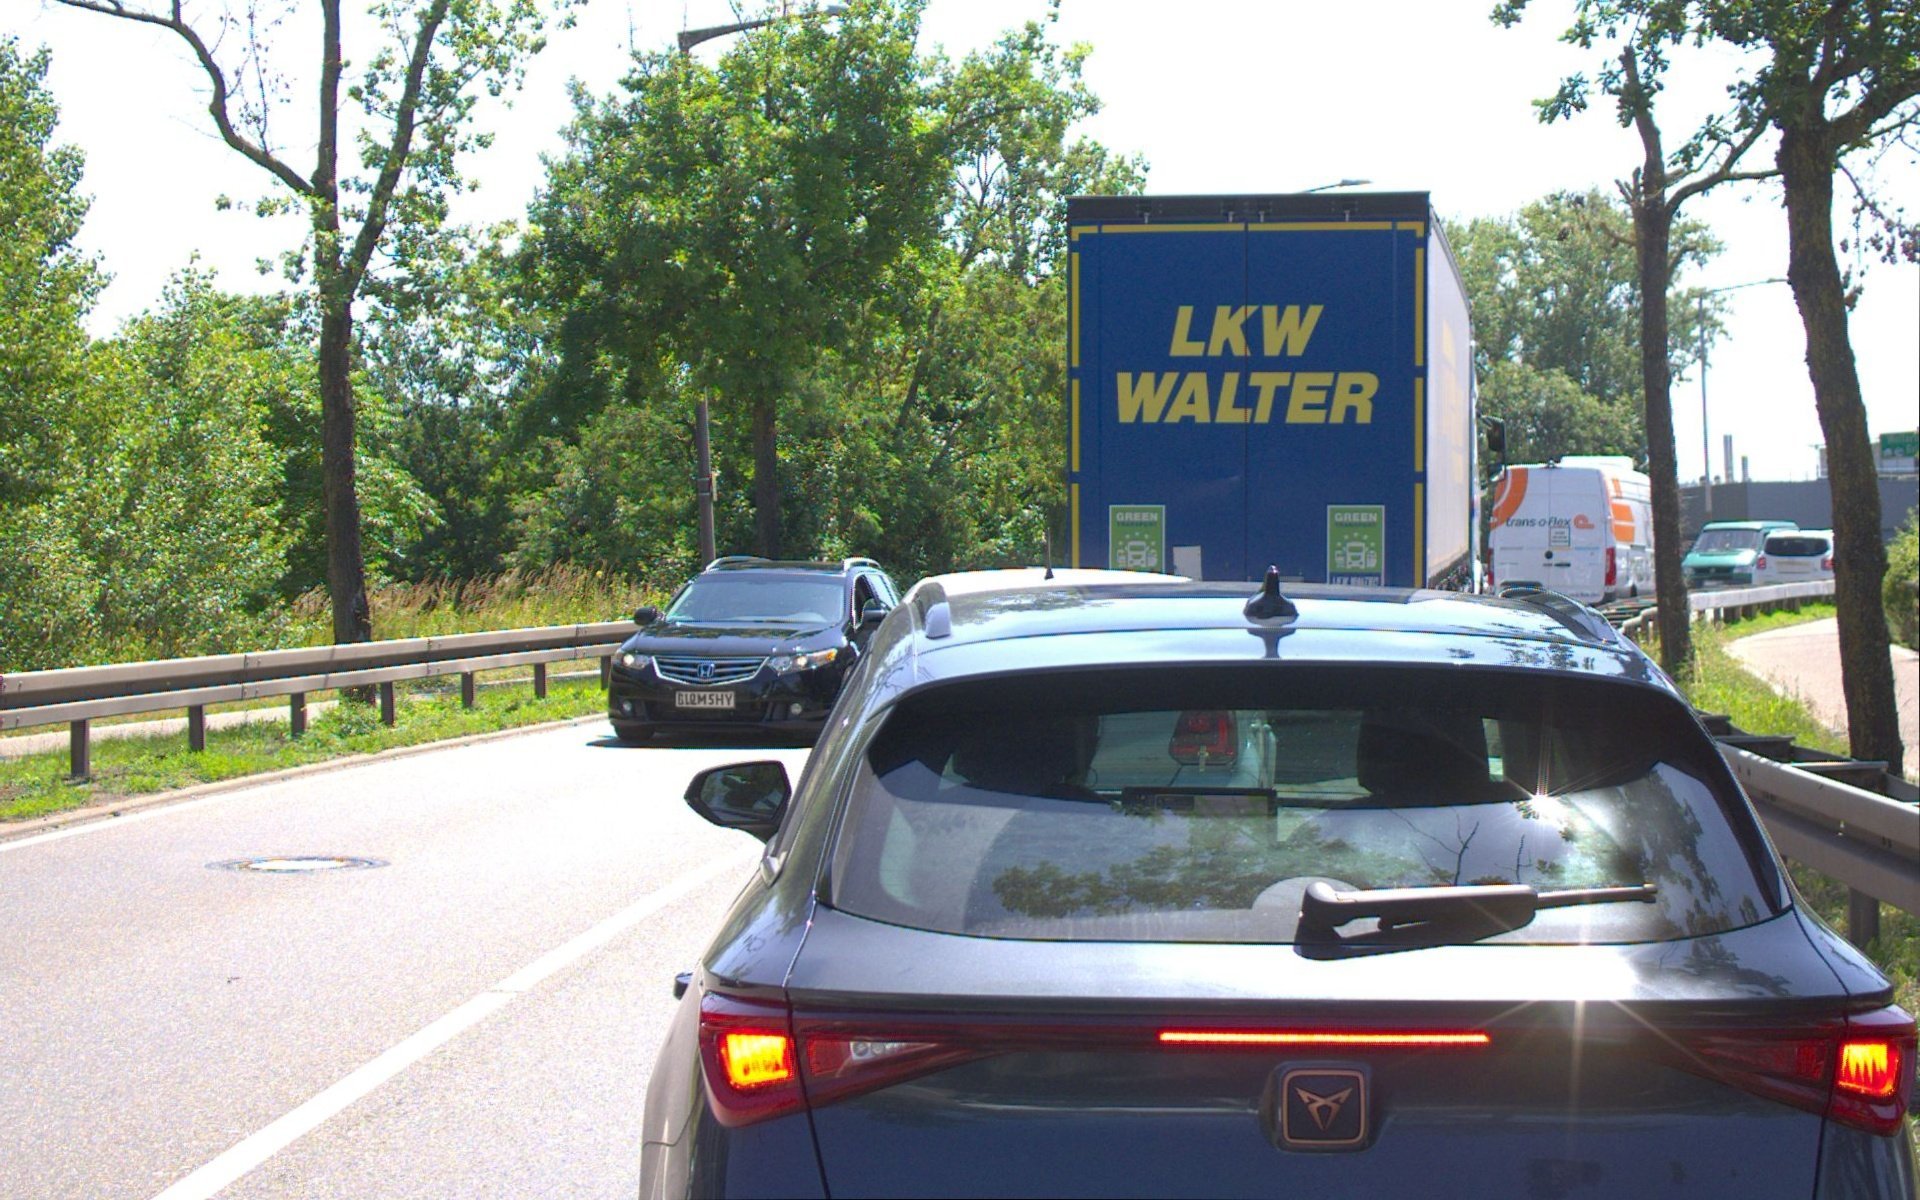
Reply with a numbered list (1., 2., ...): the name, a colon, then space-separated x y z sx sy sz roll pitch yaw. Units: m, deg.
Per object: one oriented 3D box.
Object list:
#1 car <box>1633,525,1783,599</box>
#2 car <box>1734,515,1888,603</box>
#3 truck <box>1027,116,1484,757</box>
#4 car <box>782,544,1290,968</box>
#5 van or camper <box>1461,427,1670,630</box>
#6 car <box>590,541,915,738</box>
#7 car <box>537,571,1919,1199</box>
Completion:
1. car: 17.673 -0.887 81.026 2.133 1.675 4.872 1 1 29
2. car: 17.389 -0.838 70.099 1.996 1.706 4.613 1 1 27
3. truck: 3.307 -1.255 32.307 2.951 4.433 16.792 1 1 9
4. car: 0.296 0.532 14.364 1.809 1.503 4.000 1 1 1
5. van or camper: 9.562 -1.104 53.848 2.468 2.988 6.081 1 1 17
6. car: -1.572 0.255 27.642 1.860 1.416 4.256 1 1 7
7. car: 0.412 0.689 5.628 1.744 1.427 3.880 1 1 0
